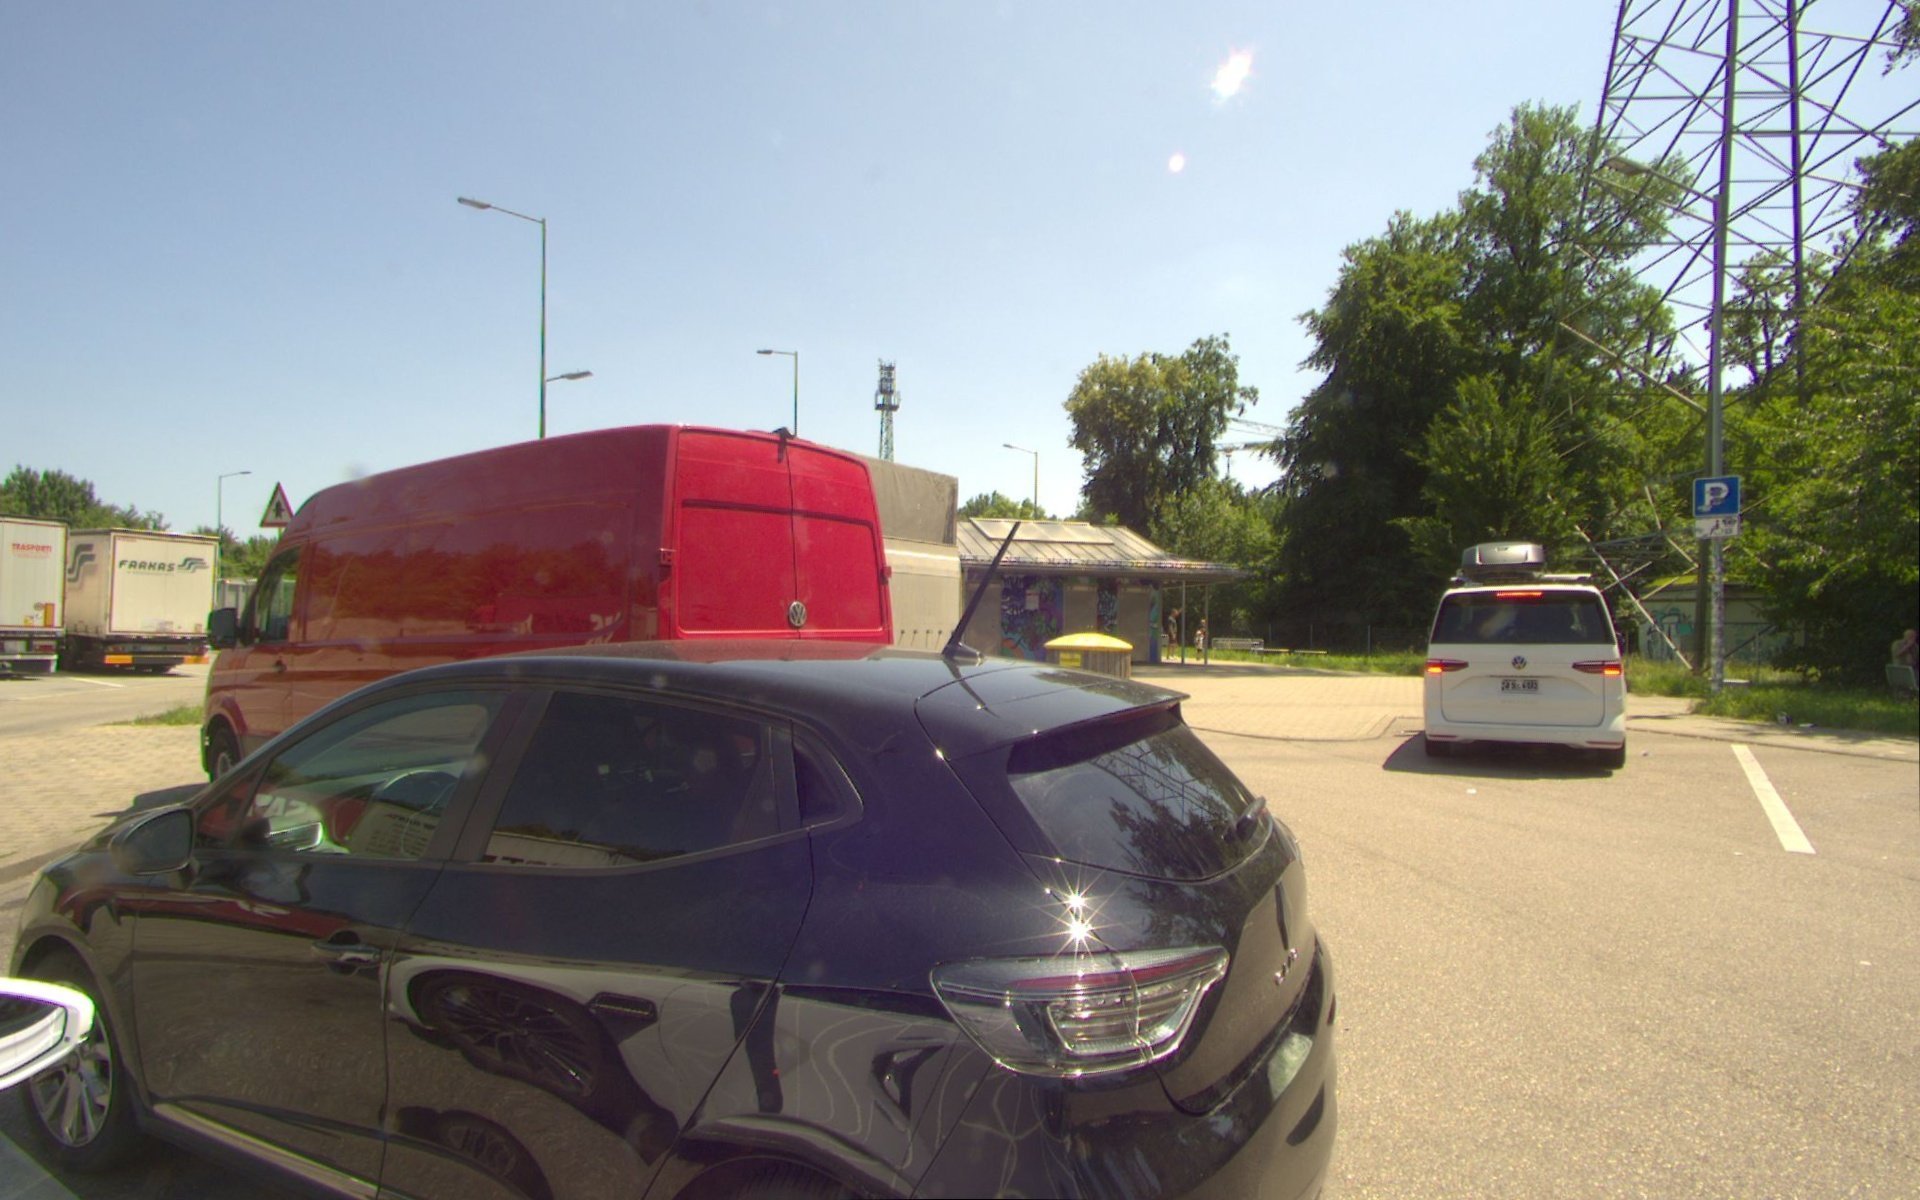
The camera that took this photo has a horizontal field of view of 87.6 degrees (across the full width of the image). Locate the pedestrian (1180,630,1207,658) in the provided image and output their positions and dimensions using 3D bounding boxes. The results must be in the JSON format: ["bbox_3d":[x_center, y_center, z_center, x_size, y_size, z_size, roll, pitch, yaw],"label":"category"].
[{"bbox_3d":[8.357,1.575,35.883,0.763,0.960,0.646,0,-1,-5],"label":"pedestrian"}]

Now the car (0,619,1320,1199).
[{"bbox_3d":[-1.056,0.836,2.895,3.757,1.501,1.736,0,-1,27],"label":"car"}]

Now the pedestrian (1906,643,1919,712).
[{"bbox_3d":[17.196,1.357,17.466,0.876,1.192,0.666,-1,-2,32],"label":"pedestrian"}]

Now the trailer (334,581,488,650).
[{"bbox_3d":[-36.044,0.924,65.422,13.530,4.101,2.834,1,-2,34],"label":"trailer"}]

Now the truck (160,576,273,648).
[{"bbox_3d":[-37.689,0.575,50.728,5.405,3.407,2.847,1,-2,34],"label":"truck"}]

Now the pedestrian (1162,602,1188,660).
[{"bbox_3d":[7.794,1.121,36.383,0.763,2.067,0.646,0,-1,-5],"label":"pedestrian"}]

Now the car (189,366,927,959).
[{"bbox_3d":[-3.348,0.311,7.347,6.310,2.731,2.060,0,-1,37],"label":"car"}]

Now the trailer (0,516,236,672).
[{"bbox_3d":[-27.654,-0.186,31.619,13.523,4.185,2.835,1,-2,33],"label":"trailer"}]

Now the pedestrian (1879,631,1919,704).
[{"bbox_3d":[18.693,1.323,19.787,0.660,1.422,0.647,-1,-1,33],"label":"pedestrian"}]

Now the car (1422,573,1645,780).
[{"bbox_3d":[6.529,0.771,11.831,1.881,1.937,4.549,-1,-1,26],"label":"car"}]

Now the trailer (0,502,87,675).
[{"bbox_3d":[-28.963,-0.365,28.138,13.523,4.185,2.835,1,-2,33],"label":"trailer"}]

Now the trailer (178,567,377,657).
[{"bbox_3d":[-32.380,0.491,47.129,13.530,3.764,2.834,1,-2,34],"label":"trailer"}]

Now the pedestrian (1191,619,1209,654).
[{"bbox_3d":[10.926,1.662,45.570,0.633,1.547,0.565,0,-1,-2],"label":"pedestrian"}]
